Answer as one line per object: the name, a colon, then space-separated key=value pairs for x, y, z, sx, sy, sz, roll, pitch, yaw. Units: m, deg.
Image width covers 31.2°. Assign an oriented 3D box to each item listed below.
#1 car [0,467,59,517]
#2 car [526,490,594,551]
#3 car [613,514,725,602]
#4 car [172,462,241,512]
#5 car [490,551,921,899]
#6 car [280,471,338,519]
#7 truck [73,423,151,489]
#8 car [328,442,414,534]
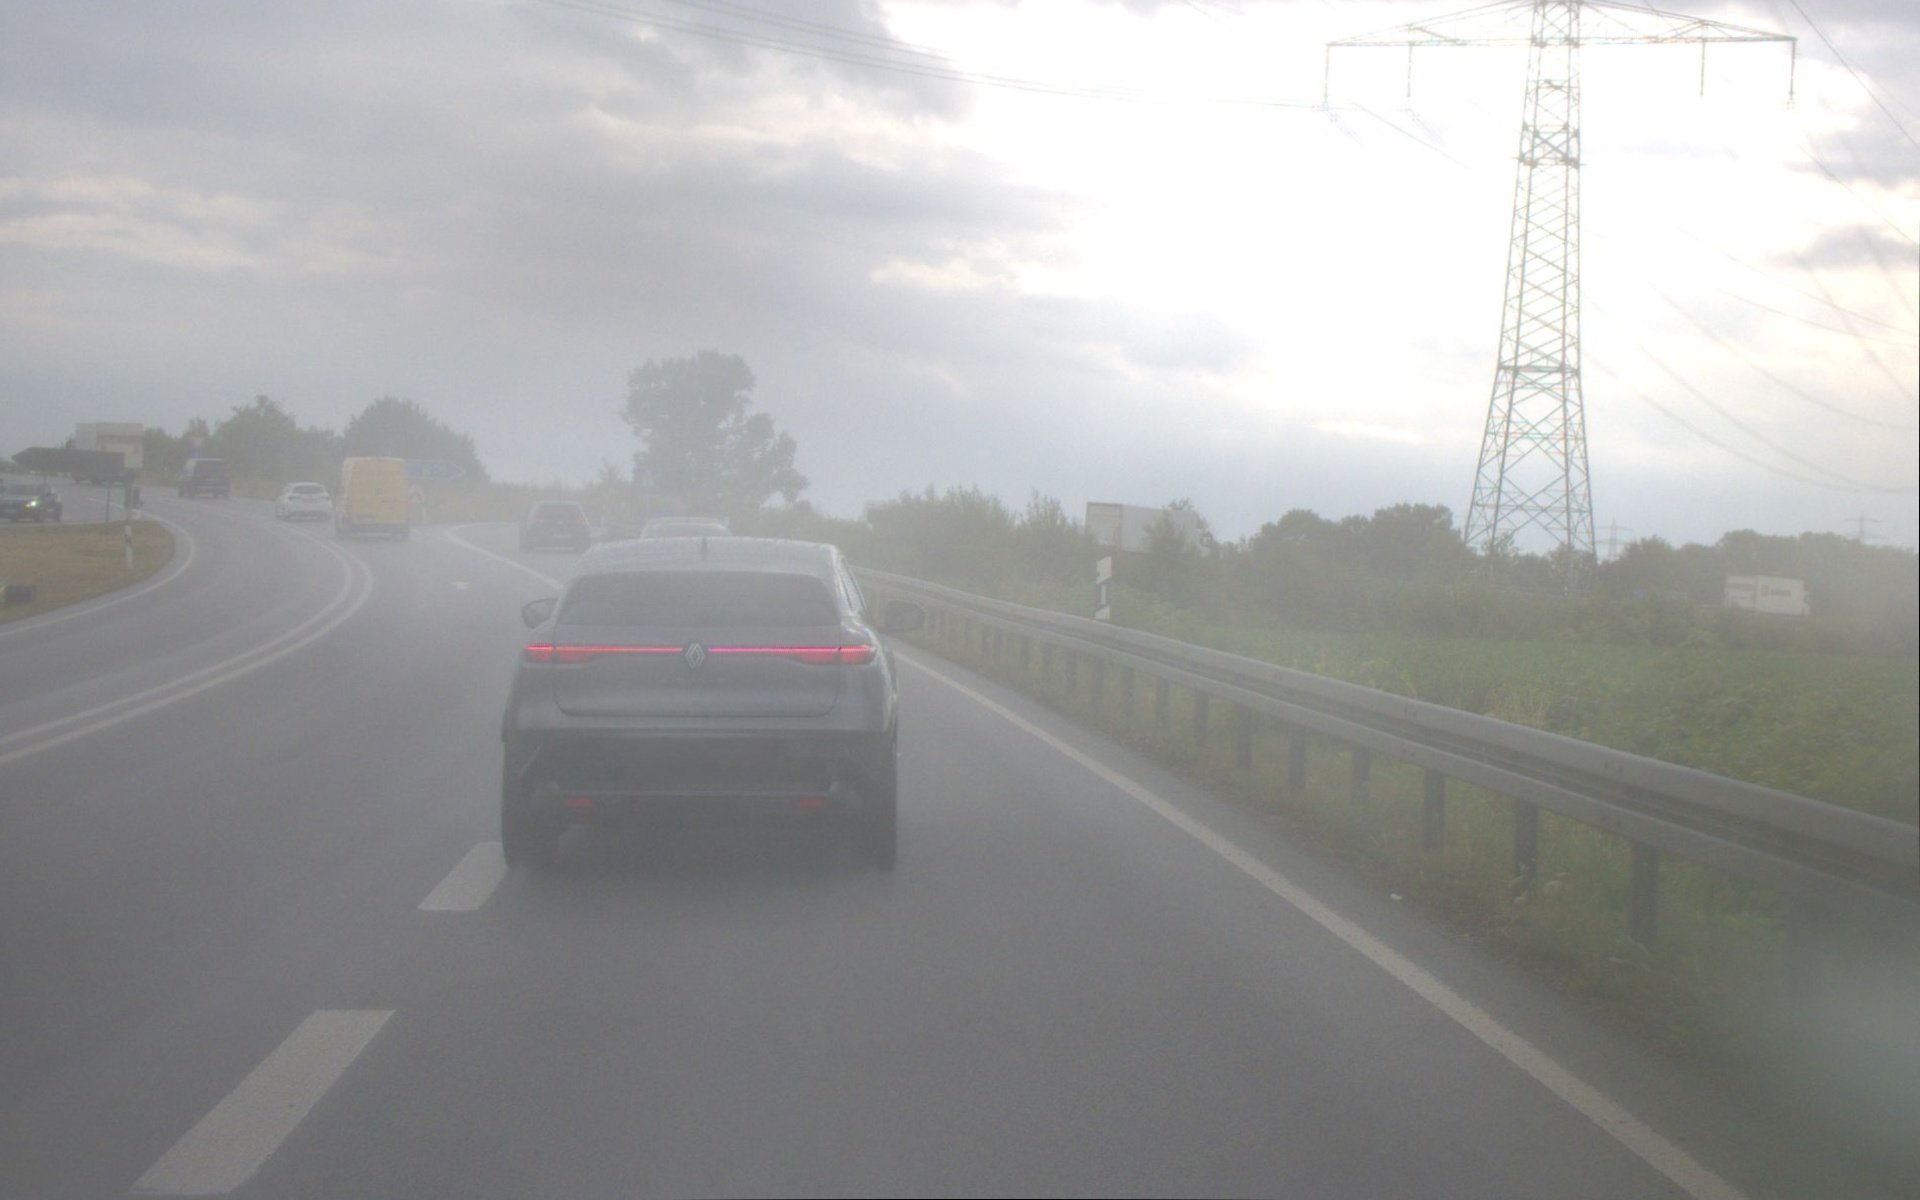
car: x=-33.983 y=-3.889 z=123.351 sx=1.981 sy=1.598 sz=3.915 roll=3 pitch=-1 yaw=4
car: x=-11.239 y=-2.231 z=96.726 sx=1.791 sy=1.536 sz=4.001 roll=2 pitch=0 yaw=-6
car: x=-4.972 y=-0.683 z=58.342 sx=1.791 sy=1.436 sz=4.001 roll=0 pitch=0 yaw=-6
car: x=-37.044 y=-5.510 z=168.893 sx=2.601 sy=2.243 sz=5.536 roll=1 pitch=0 yaw=-19
car: x=-1.125 y=0.501 z=16.478 sx=1.791 sy=1.436 sz=4.000 roll=1 pitch=1 yaw=-2
car: x=-24.707 y=-3.973 z=130.408 sx=1.791 sy=1.682 sz=4.001 roll=1 pitch=0 yaw=-16
truck: x=-47.686 y=-8.064 z=193.199 sx=3.045 sy=3.373 sz=7.646 roll=1 pitch=0 yaw=-22
car: x=-18.575 y=-3.478 z=108.467 sx=2.572 sy=2.716 sz=7.198 roll=-1 pitch=1 yaw=-10
